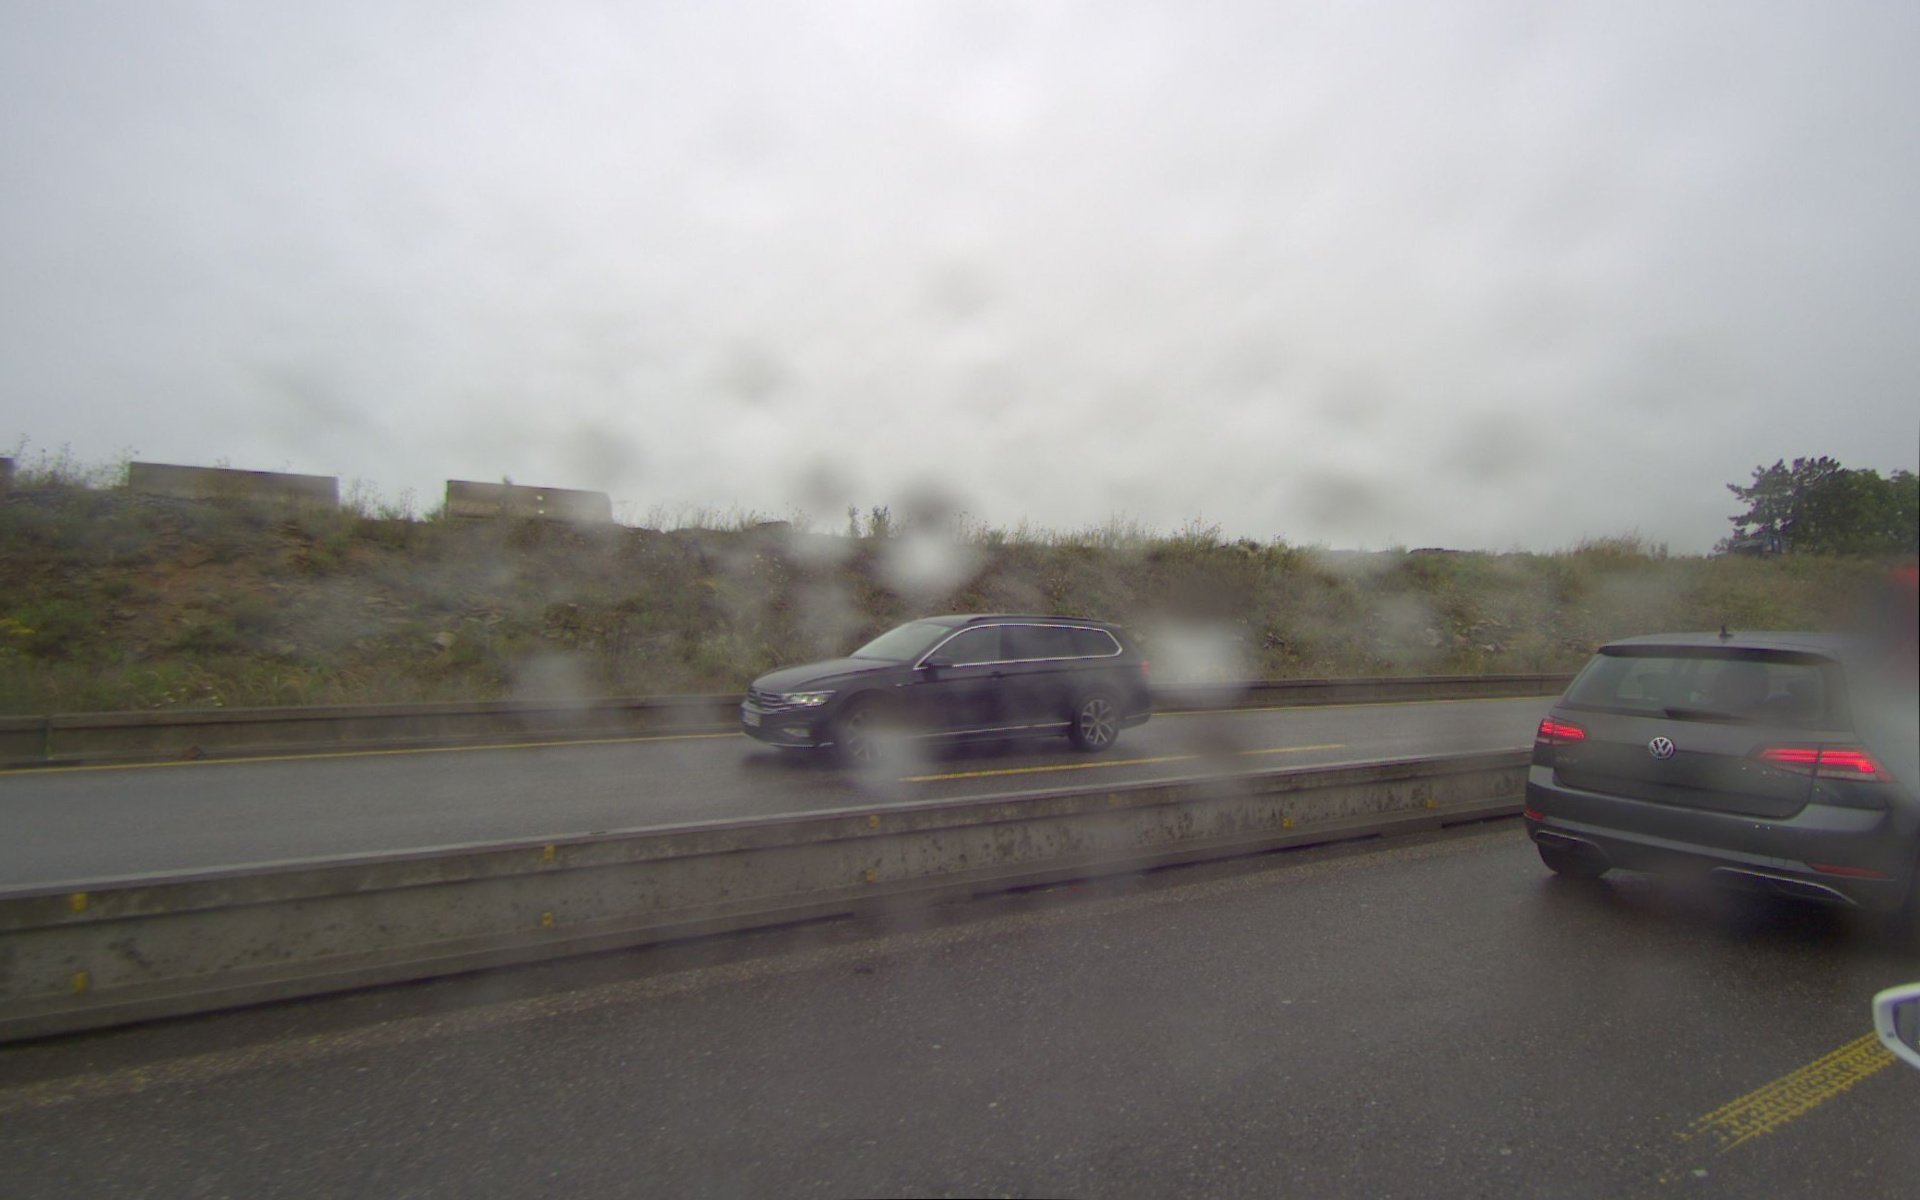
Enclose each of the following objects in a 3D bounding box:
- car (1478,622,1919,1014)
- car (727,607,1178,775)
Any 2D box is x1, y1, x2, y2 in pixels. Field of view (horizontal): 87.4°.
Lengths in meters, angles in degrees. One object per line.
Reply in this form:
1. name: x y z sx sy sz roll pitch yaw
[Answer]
1. car: 4.999 0.929 5.732 4.318 1.526 1.606 2 -2 -31
2. car: 0.011 0.869 10.868 4.617 1.463 1.760 2 0 -30
